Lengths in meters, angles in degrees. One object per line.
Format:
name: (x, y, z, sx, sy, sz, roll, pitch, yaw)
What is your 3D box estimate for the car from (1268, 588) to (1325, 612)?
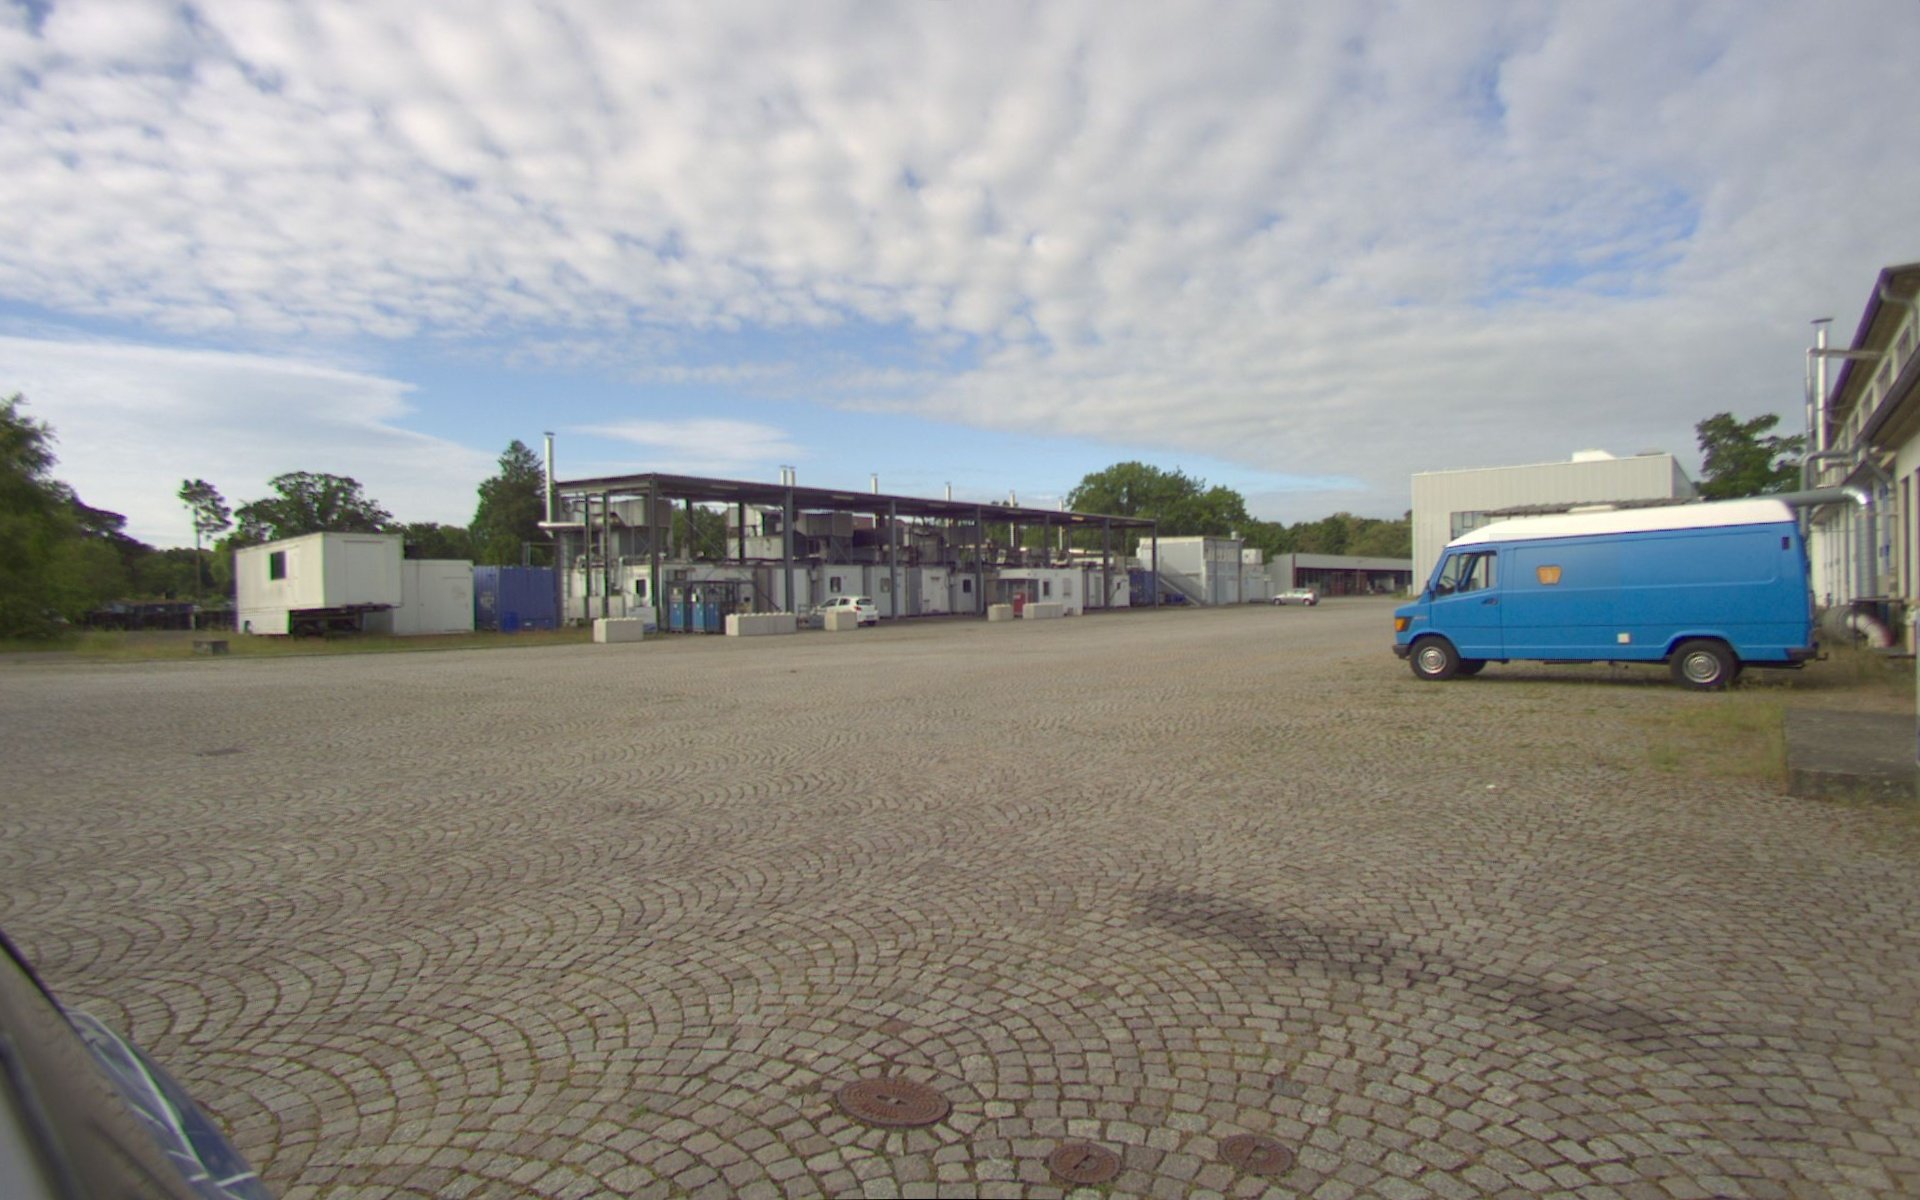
car: (29.177, -0.010, 87.767, 4.300, 1.961, 1.976, -1, 0, 36)

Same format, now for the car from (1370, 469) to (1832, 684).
car: (9.130, -0.207, 14.806, 5.396, 2.602, 1.972, -3, -1, 42)

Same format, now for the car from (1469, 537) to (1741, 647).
car: (13.896, -0.098, 21.980, 4.684, 2.125, 1.972, -3, -1, 42)

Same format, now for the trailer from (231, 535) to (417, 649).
trailer: (-23.684, -0.178, 37.304, 10.772, 3.690, 2.839, -1, 0, 41)

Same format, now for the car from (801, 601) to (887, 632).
car: (-5.730, 0.802, 49.775, 3.993, 1.484, 1.910, -1, -1, 37)
